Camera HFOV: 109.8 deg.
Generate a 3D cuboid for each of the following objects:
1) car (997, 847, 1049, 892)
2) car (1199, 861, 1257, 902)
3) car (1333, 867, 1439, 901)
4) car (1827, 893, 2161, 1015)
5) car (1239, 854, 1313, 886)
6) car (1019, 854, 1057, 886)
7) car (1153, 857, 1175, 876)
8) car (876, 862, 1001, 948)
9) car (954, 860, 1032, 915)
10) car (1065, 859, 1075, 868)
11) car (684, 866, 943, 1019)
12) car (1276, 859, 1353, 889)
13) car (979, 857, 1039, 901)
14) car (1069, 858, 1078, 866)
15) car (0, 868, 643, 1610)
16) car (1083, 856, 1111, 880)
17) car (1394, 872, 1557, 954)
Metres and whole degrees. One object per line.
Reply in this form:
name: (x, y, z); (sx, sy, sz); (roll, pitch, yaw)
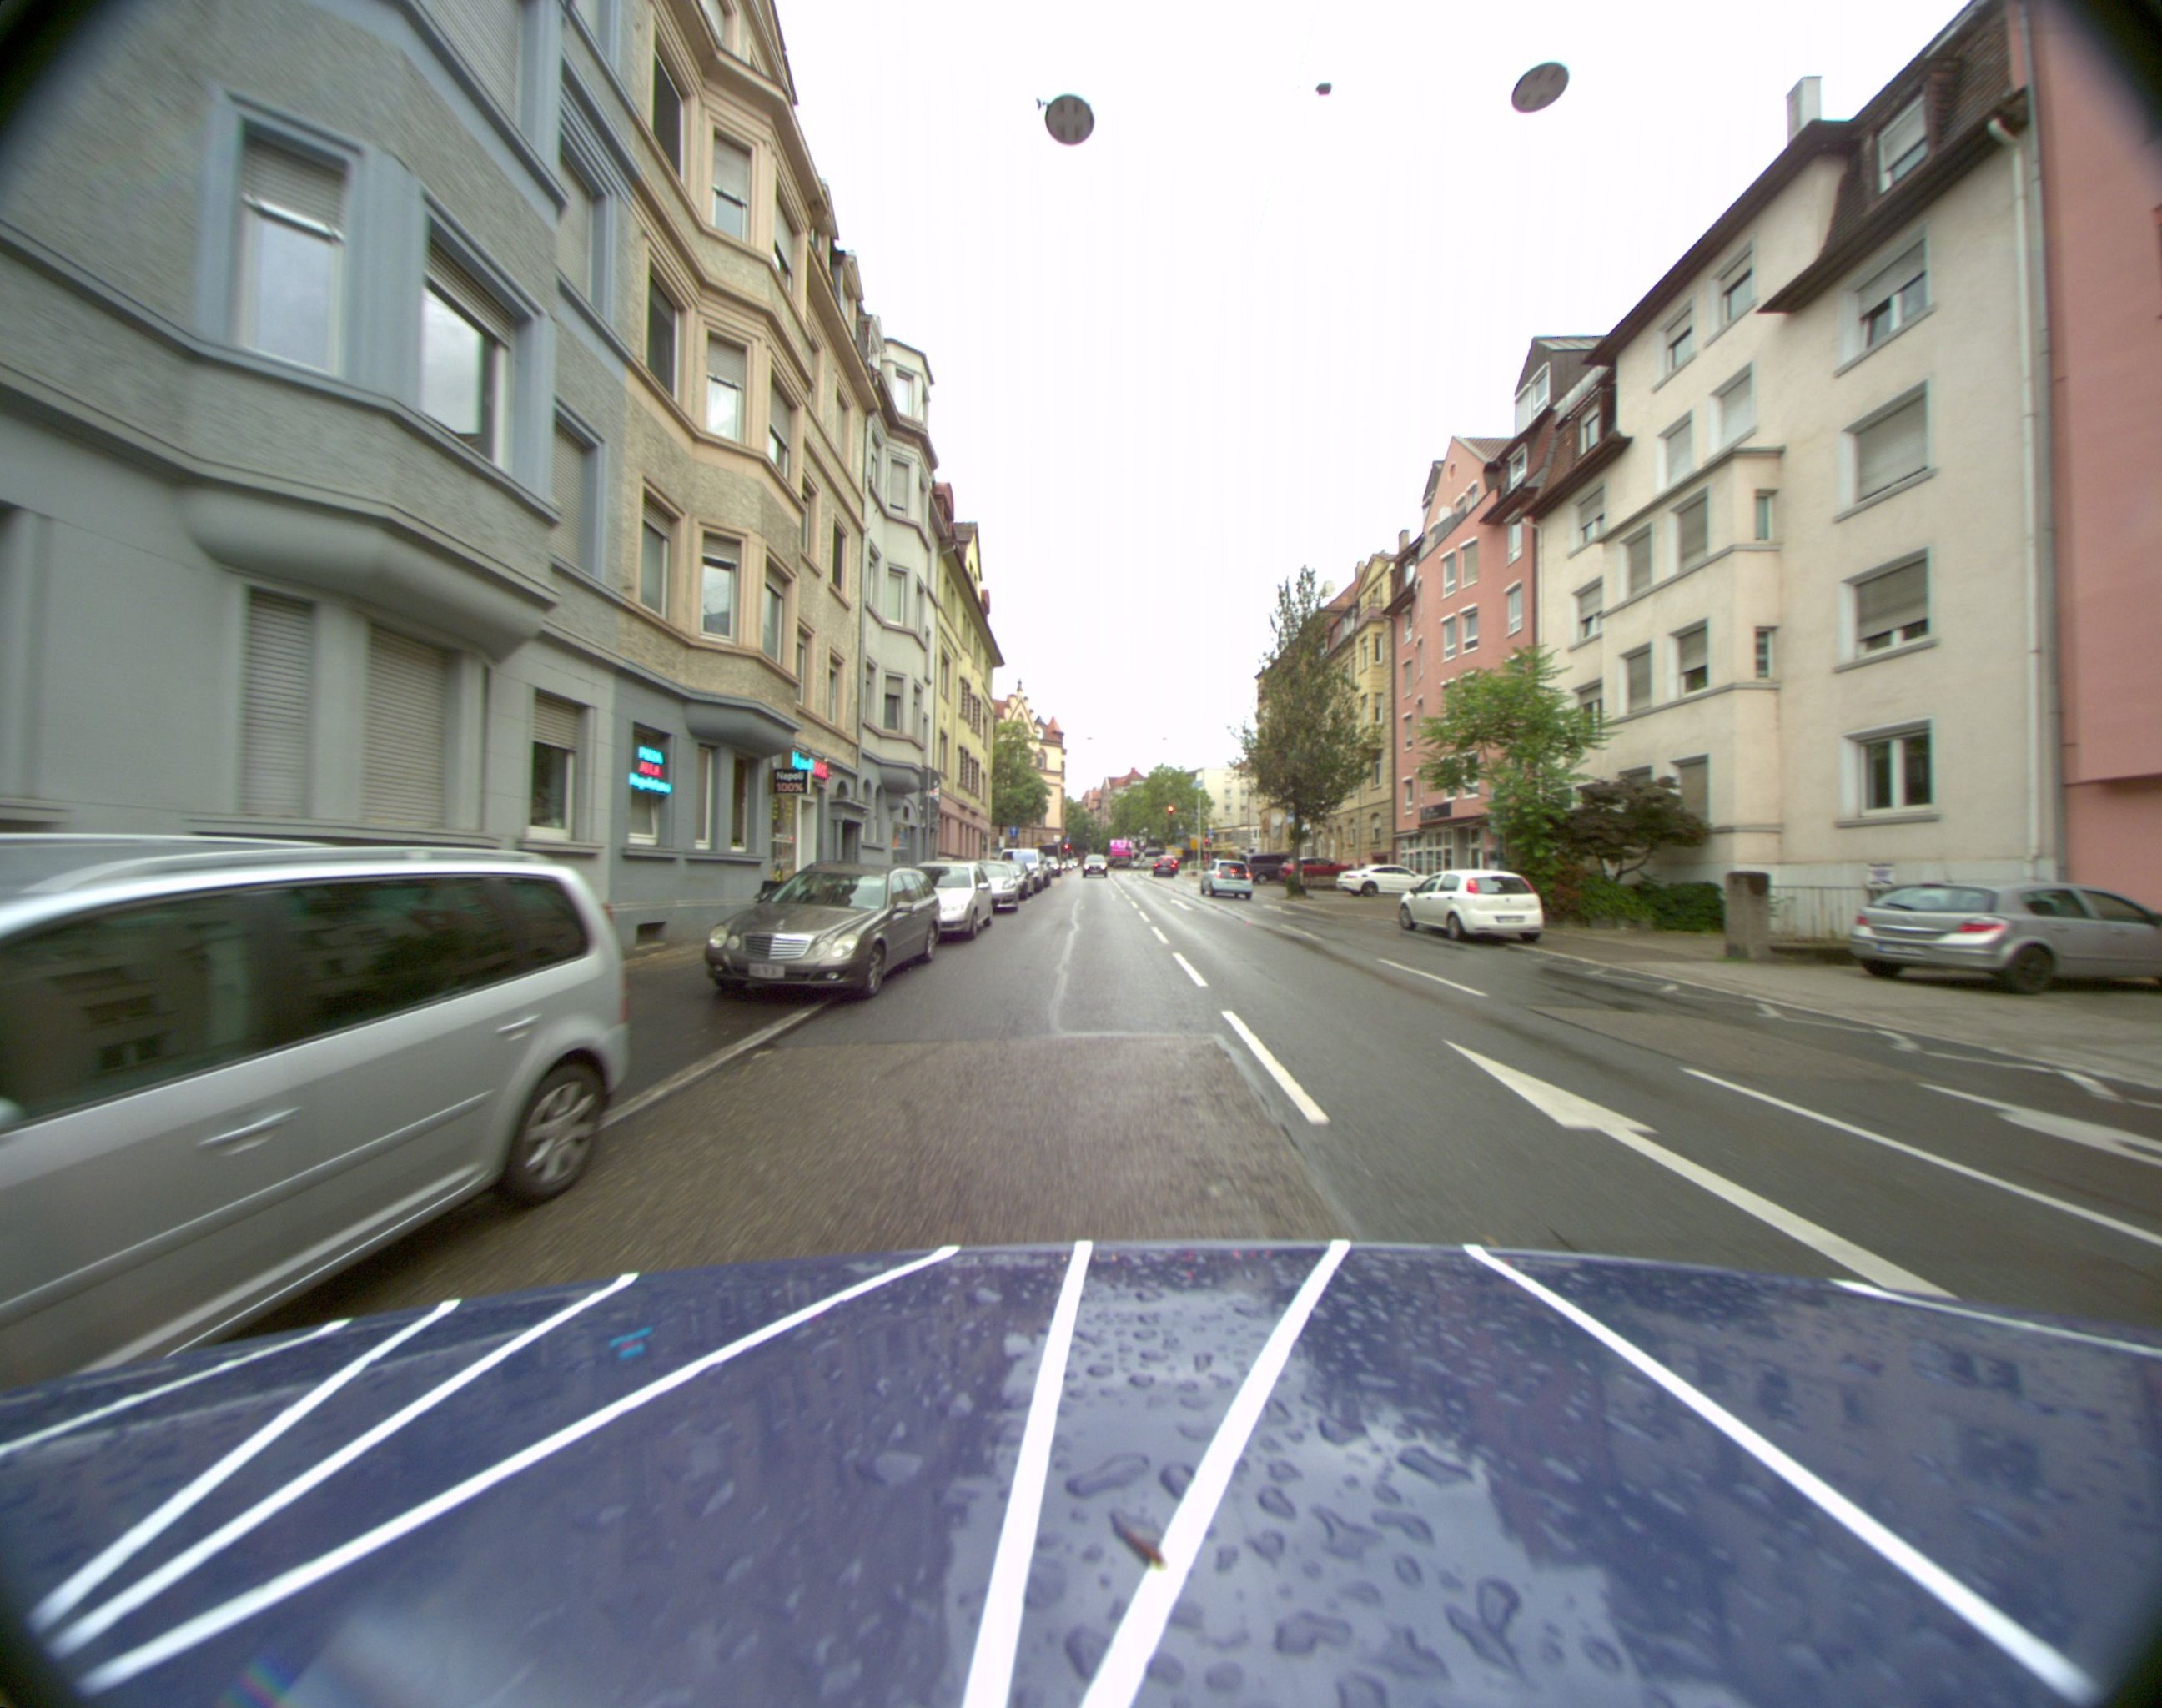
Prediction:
car: (-2.500, 0.647, 33.740); (1.826, 1.808, 4.520); (2, 0, 1)
car: (6.069, 1.101, 31.744); (1.772, 1.540, 3.652); (0, 1, 1)
car: (13.257, 1.281, 33.148); (3.928, 1.289, 1.646); (1, 1, 2)
car: (12.948, 1.318, 10.418); (3.931, 1.389, 1.724); (1, 1, -5)
car: (11.838, 0.957, 46.295); (3.929, 1.836, 1.867); (1, 1, -1)
car: (-2.166, 0.786, 39.106); (1.627, 1.498, 3.745); (2, 0, 1)
car: (6.867, 1.028, 63.076); (1.669, 1.448, 3.653); (0, 1, 4)
car: (-2.753, 0.934, 15.532); (1.709, 1.433, 3.933); (2, 0, 1)
car: (-2.466, 0.908, 22.203); (1.709, 1.388, 3.933); (-2, 0, 1)
car: (-1.861, 1.522, 126.159); (1.552, 1.386, 3.745); (2, 0, 1)
car: (-3.115, 0.935, 9.893); (1.731, 1.433, 4.358); (2, 0, 1)
car: (13.516, 1.130, 44.072); (3.928, 1.613, 1.592); (1, 1, 2)
car: (-2.573, 0.850, 27.828); (1.709, 1.433, 3.933); (2, 0, 1)
car: (-1.367, 1.466, 145.248); (1.552, 1.386, 3.745); (2, 0, 1)
car: (-3.291, 0.896, 1.963); (1.731, 1.588, 4.312); (2, 0, 1)
car: (1.159, 1.013, 56.002); (1.889, 1.543, 3.999); (-2, 1, -1)
car: (8.411, 1.189, 16.574); (1.669, 1.463, 3.652); (0, 1, 0)
